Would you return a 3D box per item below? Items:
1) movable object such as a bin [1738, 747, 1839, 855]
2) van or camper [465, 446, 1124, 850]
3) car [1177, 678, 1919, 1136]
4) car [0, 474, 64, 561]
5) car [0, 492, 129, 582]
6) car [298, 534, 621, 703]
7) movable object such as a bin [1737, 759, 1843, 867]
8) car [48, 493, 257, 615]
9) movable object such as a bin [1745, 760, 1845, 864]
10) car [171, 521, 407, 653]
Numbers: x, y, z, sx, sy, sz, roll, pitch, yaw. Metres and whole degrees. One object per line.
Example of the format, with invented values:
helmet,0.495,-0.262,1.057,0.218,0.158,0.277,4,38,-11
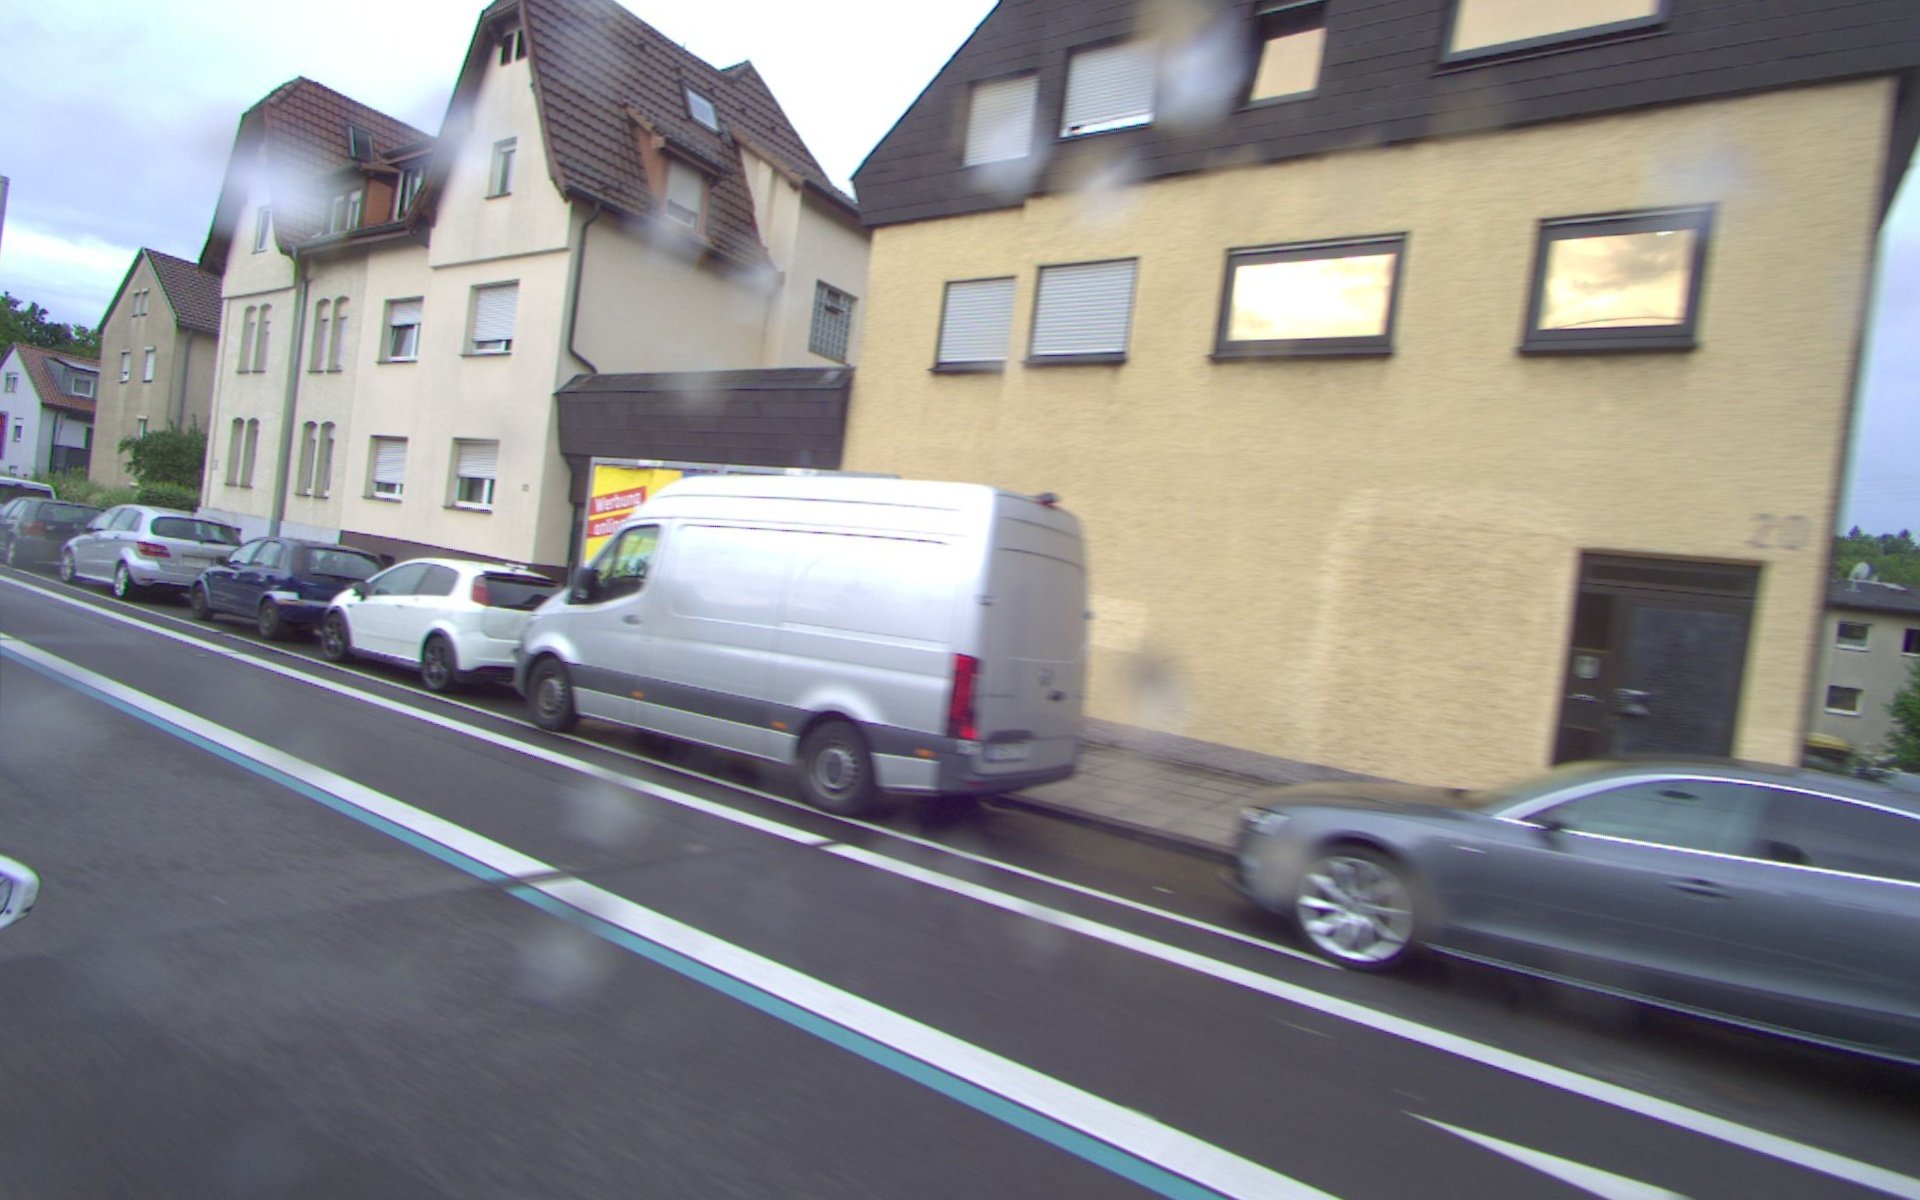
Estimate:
movable object such as a bin,9.281,2.230,11.293,0.715,1.034,0.579,7,-2,32
van or camper,-1.789,0.175,9.245,5.945,2.593,1.996,8,-1,34
car,3.678,1.483,5.362,4.476,1.422,1.792,7,-2,30
car,-23.449,-2.146,24.156,3.889,1.829,1.750,8,-1,33
car,-19.209,-1.389,21.047,3.890,1.462,1.649,7,-2,34
car,-6.238,0.194,12.410,3.976,1.463,1.711,7,-2,34
movable object such as a bin,8.687,2.218,10.557,0.715,0.956,0.475,6,-1,32
car,-14.569,-0.852,18.087,4.038,1.633,1.649,7,-1,34
movable object such as a bin,9.012,2.276,10.877,0.685,0.956,0.461,7,-1,32
car,-10.192,-0.223,15.207,3.648,1.465,1.628,7,-2,35
